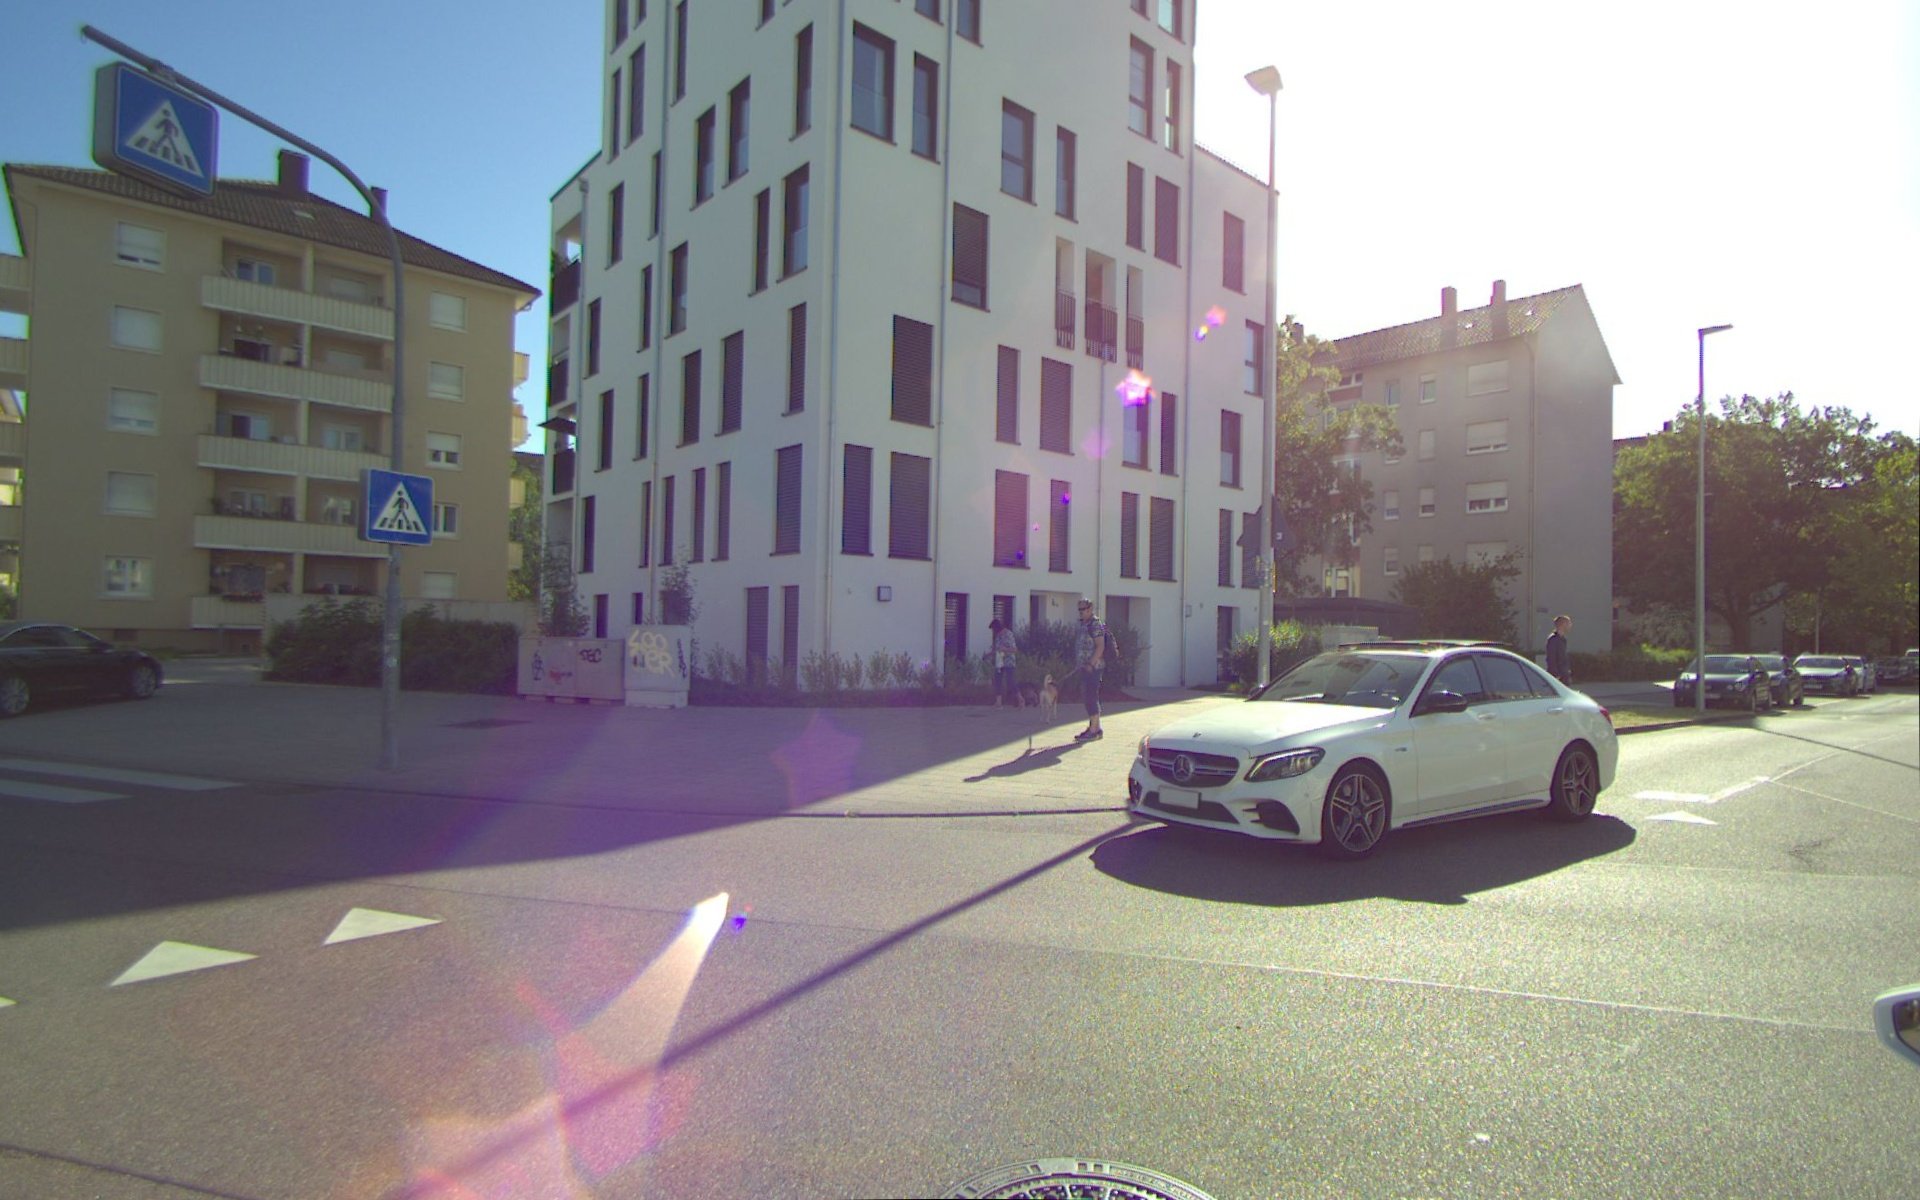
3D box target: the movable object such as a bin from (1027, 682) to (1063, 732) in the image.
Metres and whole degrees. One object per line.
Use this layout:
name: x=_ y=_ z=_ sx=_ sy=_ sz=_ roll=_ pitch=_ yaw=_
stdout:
movable object such as a bin: x=1.273 y=1.589 z=15.015 sx=0.267 sy=0.688 sz=0.849 roll=1 pitch=-2 yaw=23

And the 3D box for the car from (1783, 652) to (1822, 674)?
car: x=48.273 y=3.590 z=57.565 sx=2.641 sy=1.241 sz=1.263 roll=2 pitch=-2 yaw=-39

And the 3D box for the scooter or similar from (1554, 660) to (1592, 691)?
scooter or similar: x=21.733 y=2.655 z=35.604 sx=1.854 sy=1.060 sz=0.527 roll=2 pitch=-2 yaw=-37

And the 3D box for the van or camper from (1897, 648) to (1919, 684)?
van or camper: x=57.433 y=3.981 z=59.707 sx=3.966 sy=2.040 sz=1.978 roll=4 pitch=-1 yaw=-39

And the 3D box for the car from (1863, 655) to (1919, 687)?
car: x=47.000 y=3.562 z=50.565 sx=3.882 sy=1.426 sz=1.974 roll=4 pitch=-1 yaw=-44

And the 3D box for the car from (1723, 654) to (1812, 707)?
car: x=23.516 y=2.294 z=29.198 sx=3.970 sy=1.394 sz=1.393 roll=3 pitch=-2 yaw=-42

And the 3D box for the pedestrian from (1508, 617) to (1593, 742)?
pedestrian: x=8.615 y=1.130 z=14.651 sx=0.973 sy=1.737 sz=0.862 roll=3 pitch=-2 yaw=-45

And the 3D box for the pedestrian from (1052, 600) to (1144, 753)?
pedestrian: x=1.825 y=0.981 z=13.281 sx=0.833 sy=1.910 sz=0.788 roll=3 pitch=-1 yaw=39

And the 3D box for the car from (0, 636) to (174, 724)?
car: x=-15.315 y=1.248 z=16.210 sx=1.962 sy=1.182 sz=4.561 roll=1 pitch=0 yaw=-5

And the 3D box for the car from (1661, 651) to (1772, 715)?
car: x=19.818 y=2.146 z=26.264 sx=3.973 sy=1.439 sz=1.651 roll=4 pitch=-1 yaw=-43

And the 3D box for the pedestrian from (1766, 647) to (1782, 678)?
pedestrian: x=45.319 y=3.493 z=55.932 sx=0.627 sy=1.686 sz=0.695 roll=0 pitch=-2 yaw=43

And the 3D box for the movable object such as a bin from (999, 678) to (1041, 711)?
movable object such as a bin: x=1.066 y=1.664 z=17.707 sx=0.676 sy=0.549 sz=0.271 roll=3 pitch=-1 yaw=-21

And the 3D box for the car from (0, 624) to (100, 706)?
car: x=-18.007 y=1.143 z=17.736 sx=1.962 sy=1.450 sz=4.562 roll=1 pitch=-2 yaw=-5

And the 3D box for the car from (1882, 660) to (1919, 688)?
car: x=52.656 y=4.110 z=55.674 sx=3.969 sy=1.416 sz=1.827 roll=4 pitch=-3 yaw=-41

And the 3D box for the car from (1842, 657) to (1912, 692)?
car: x=40.778 y=3.303 z=44.638 sx=3.969 sy=1.416 sz=1.827 roll=4 pitch=-3 yaw=-41

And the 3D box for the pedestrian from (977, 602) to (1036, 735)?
pedestrian: x=0.775 y=1.121 z=16.789 sx=0.939 sy=2.149 sz=0.776 roll=0 pitch=-1 yaw=2

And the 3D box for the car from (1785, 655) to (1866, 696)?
car: x=30.976 y=2.686 z=35.919 sx=4.161 sy=1.250 sz=1.615 roll=4 pitch=-1 yaw=-41

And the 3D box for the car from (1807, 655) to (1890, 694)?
car: x=35.292 y=2.937 z=39.875 sx=3.969 sy=1.416 sz=1.976 roll=4 pitch=-3 yaw=-41

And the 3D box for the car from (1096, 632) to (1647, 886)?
car: x=3.453 y=1.069 z=8.121 sx=4.589 sy=1.524 sz=1.875 roll=2 pitch=-4 yaw=-34
